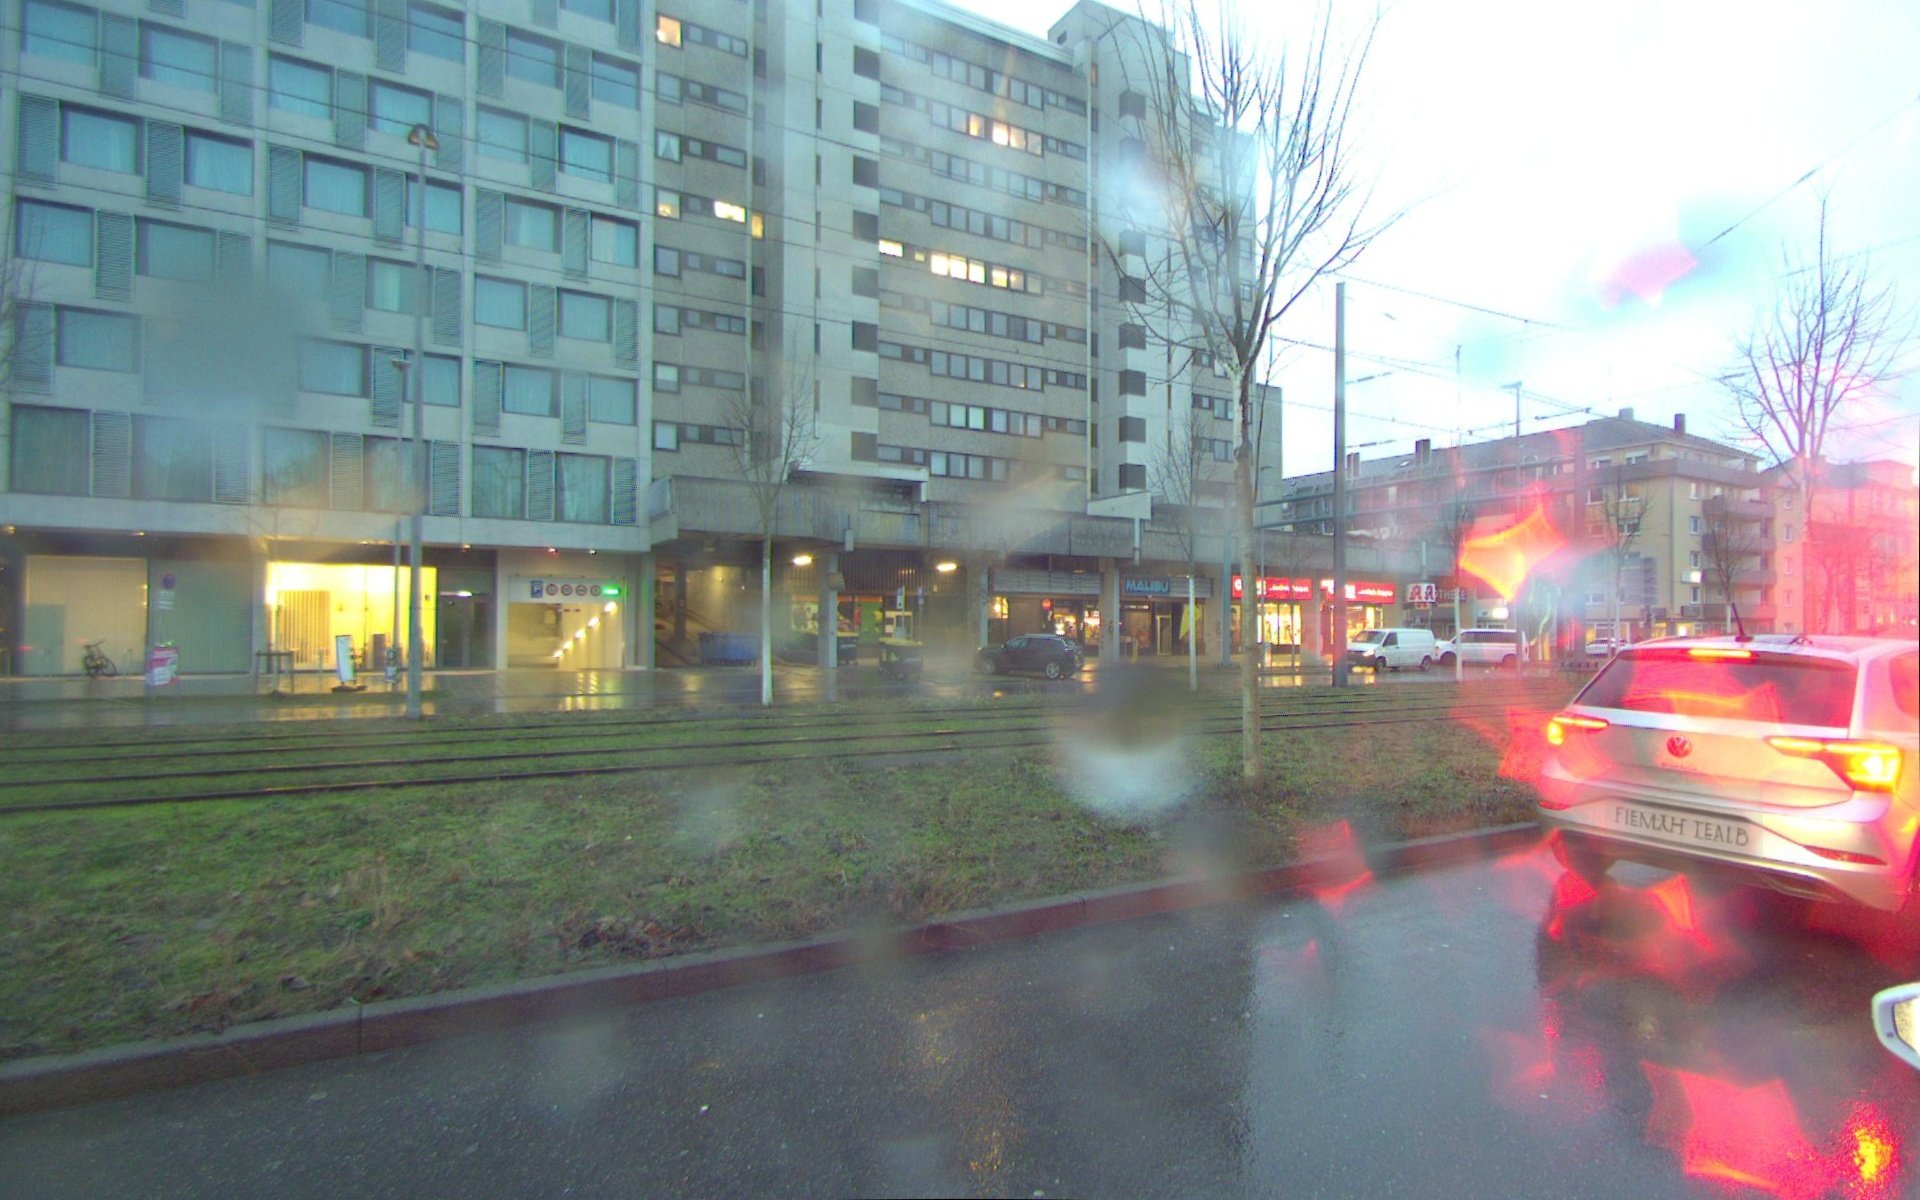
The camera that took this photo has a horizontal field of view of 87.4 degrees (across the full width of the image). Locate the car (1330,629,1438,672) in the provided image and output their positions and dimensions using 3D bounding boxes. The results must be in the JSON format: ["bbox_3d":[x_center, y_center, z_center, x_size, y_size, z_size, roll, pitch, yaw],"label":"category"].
[{"bbox_3d":[19.942,2.334,47.191,5.100,1.937,1.985,1,-2,-29],"label":"car"}]

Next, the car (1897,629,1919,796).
[{"bbox_3d":[10.549,1.020,9.119,4.562,1.424,1.837,2,-1,-31],"label":"car"}]

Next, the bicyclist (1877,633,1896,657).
[{"bbox_3d":[63.461,3.057,68.821,0.776,1.600,0.637,1,0,25],"label":"bicyclist"}]

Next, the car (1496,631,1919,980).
[{"bbox_3d":[5.151,0.923,5.934,3.936,1.389,1.753,2,-1,-31],"label":"car"}]

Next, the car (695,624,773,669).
[{"bbox_3d":[-9.094,1.822,40.193,1.709,1.718,4.336,1,-2,-32],"label":"car"}]

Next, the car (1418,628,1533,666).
[{"bbox_3d":[27.053,2.436,52.890,5.059,1.937,2.001,0,-2,15],"label":"car"}]

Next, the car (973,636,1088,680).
[{"bbox_3d":[2.701,2.184,38.475,3.925,1.405,1.935,2,0,25],"label":"car"}]

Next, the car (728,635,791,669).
[{"bbox_3d":[-8.755,2.240,43.756,1.580,1.377,3.411,1,-2,-32],"label":"car"}]
